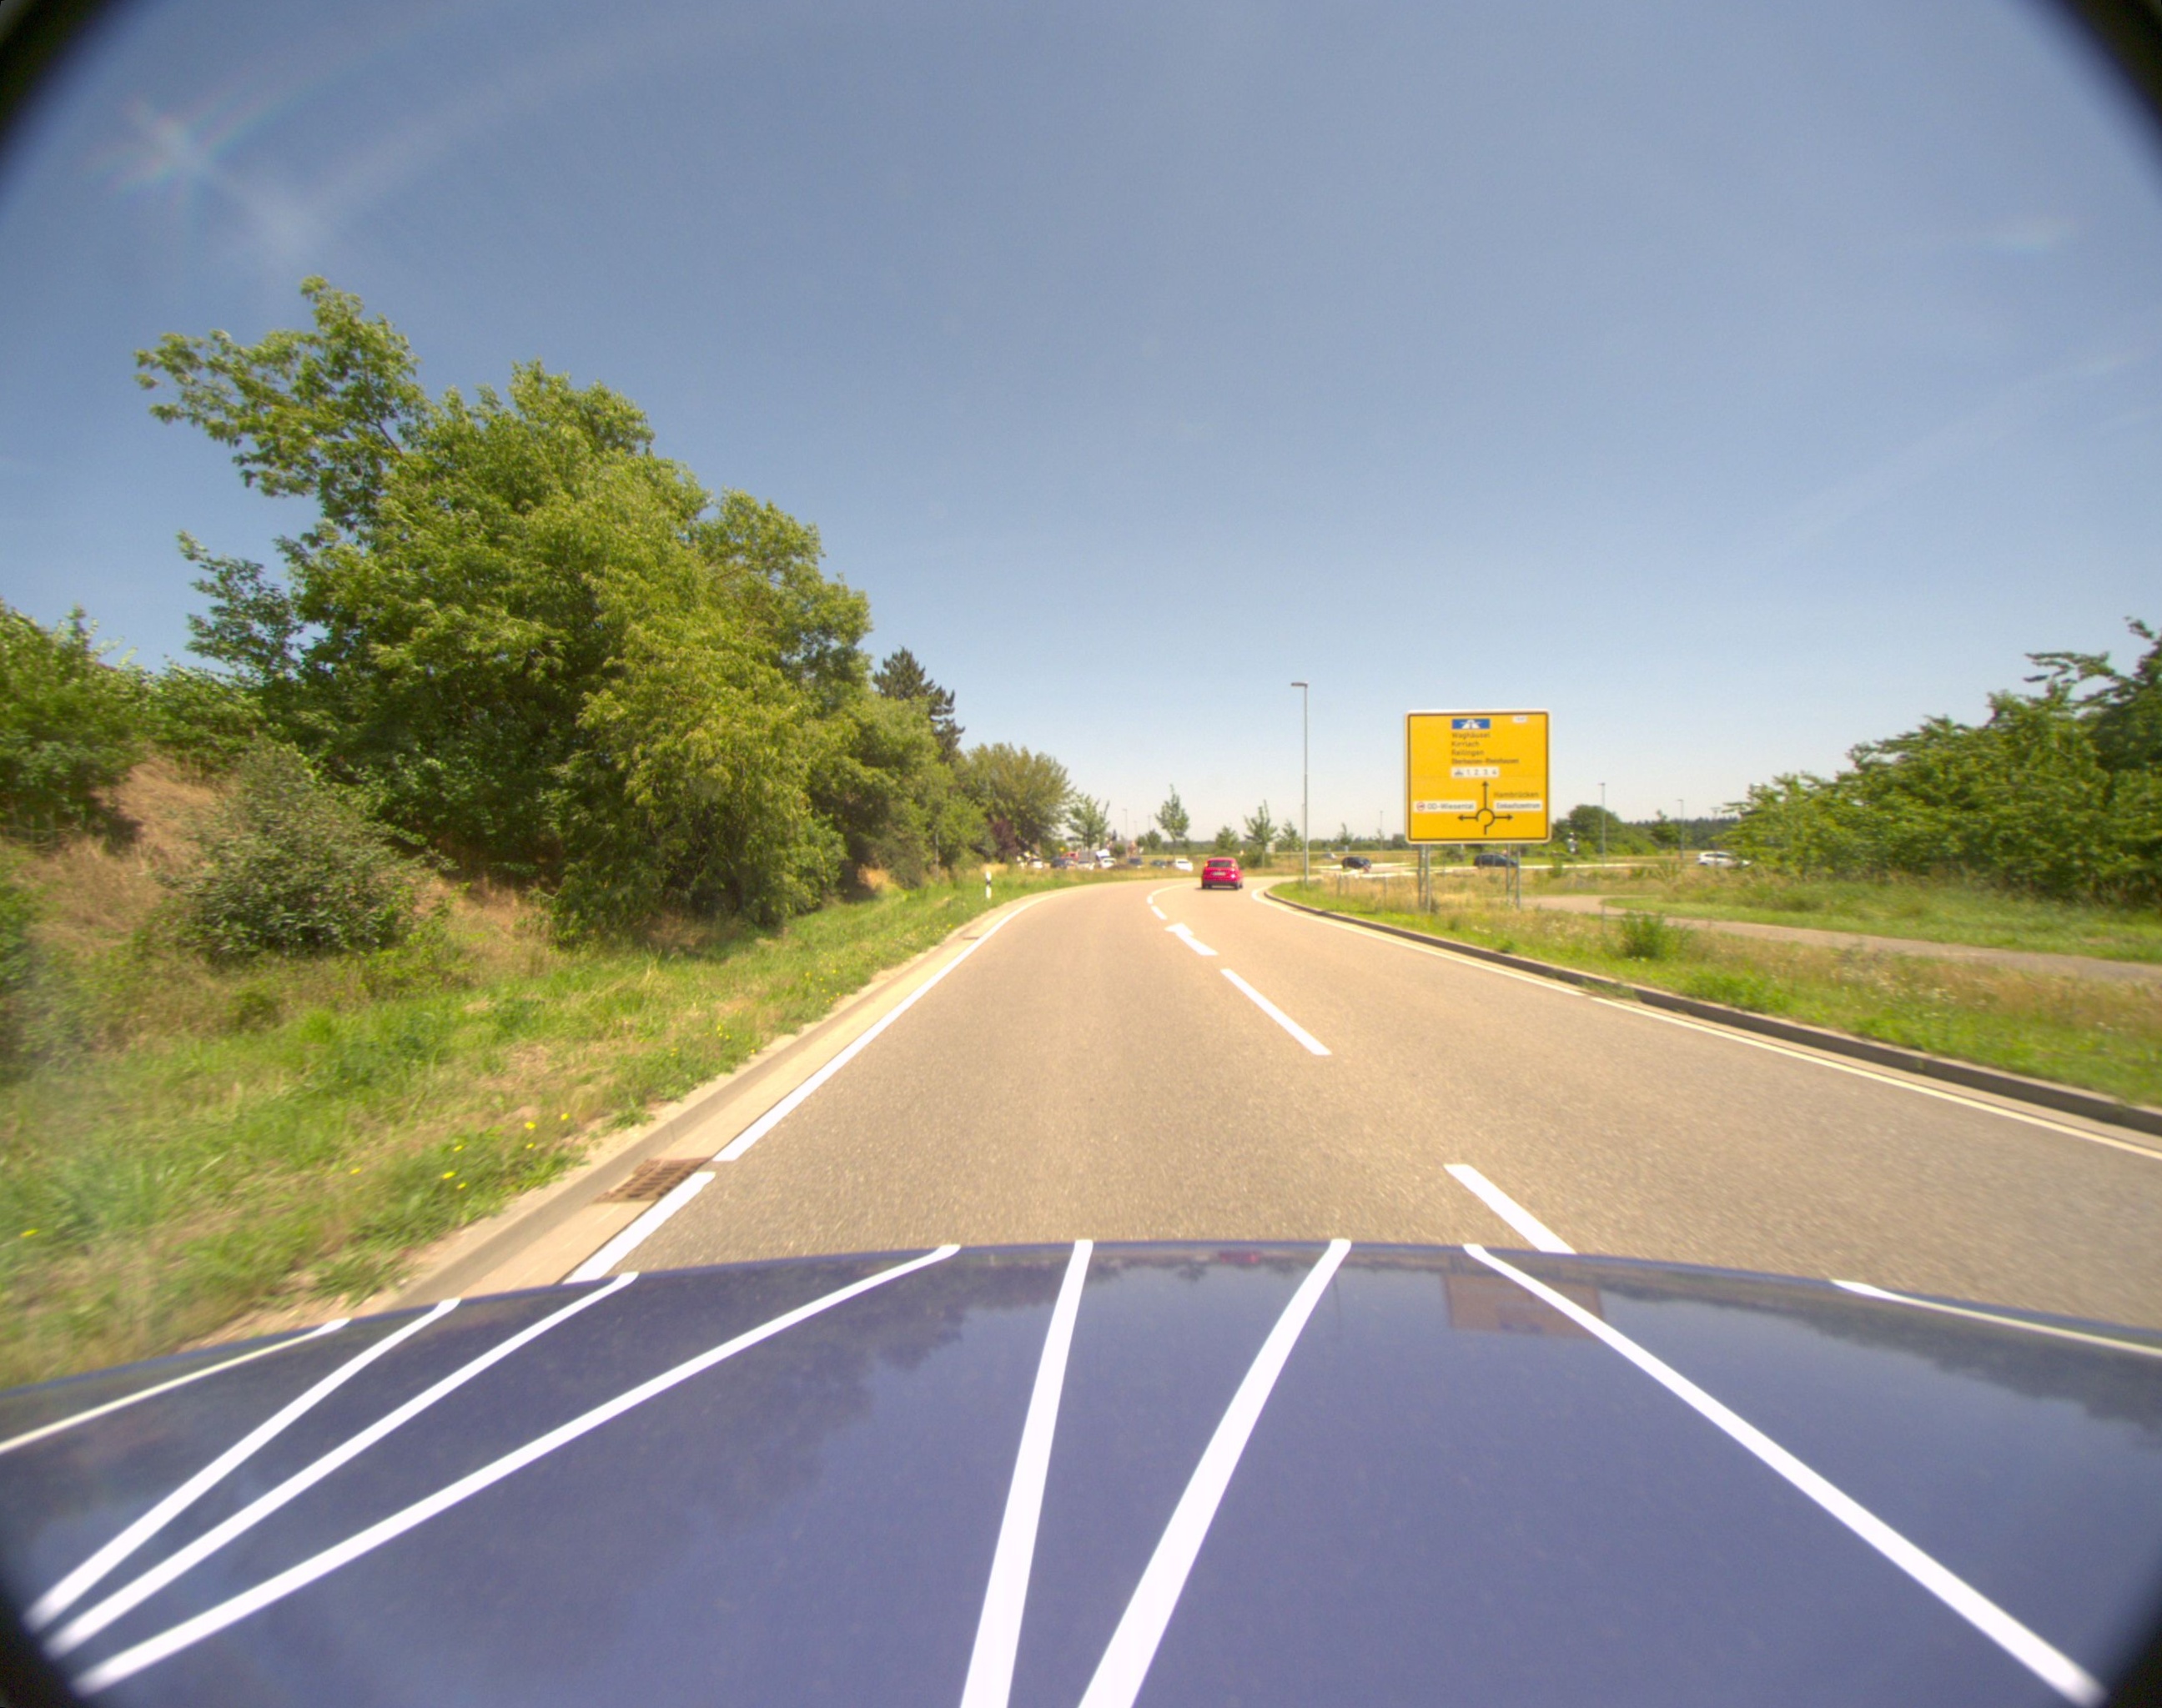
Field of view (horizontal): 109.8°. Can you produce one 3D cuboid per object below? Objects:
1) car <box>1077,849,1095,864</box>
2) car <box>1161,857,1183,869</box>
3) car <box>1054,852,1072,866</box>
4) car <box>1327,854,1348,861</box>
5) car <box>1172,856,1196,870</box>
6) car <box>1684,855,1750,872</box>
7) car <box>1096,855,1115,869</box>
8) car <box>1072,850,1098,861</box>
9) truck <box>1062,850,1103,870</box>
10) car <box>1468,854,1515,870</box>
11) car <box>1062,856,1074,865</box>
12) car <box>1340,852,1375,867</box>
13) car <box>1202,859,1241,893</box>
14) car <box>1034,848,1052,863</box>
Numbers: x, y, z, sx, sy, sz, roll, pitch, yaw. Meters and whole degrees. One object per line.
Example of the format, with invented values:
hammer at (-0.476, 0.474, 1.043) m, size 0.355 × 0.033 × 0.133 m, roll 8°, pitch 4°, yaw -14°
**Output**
car at (0.469, 0.260, 78.242) m, size 1.773 × 1.434 × 3.967 m, roll -1°, pitch -1°, yaw -1°
car at (10.664, 1.044, 89.364) m, size 1.747 × 1.303 × 3.997 m, roll -1°, pitch 0°, yaw -7°
car at (-1.861, 0.540, 78.739) m, size 1.773 × 1.434 × 3.967 m, roll -1°, pitch -1°, yaw -1°
car at (54.113, 0.698, 160.287) m, size 2.002 × 1.477 × 3.993 m, roll 0°, pitch 0°, yaw -20°
car at (10.755, 0.940, 79.618) m, size 1.746 × 1.419 × 3.999 m, roll -1°, pitch 0°, yaw -2°
car at (58.769, 0.867, 70.323) m, size 4.508 × 1.553 × 1.873 m, roll -1°, pitch 1°, yaw 35°
car at (2.538, 0.839, 79.188) m, size 1.773 × 1.434 × 3.967 m, roll -1°, pitch -1°, yaw 0°
car at (1.033, 0.300, 186.711) m, size 6.126 × 2.569 × 2.358 m, roll 0°, pitch 0°, yaw 11°
truck at (0.178, 0.692, 97.589) m, size 2.241 × 2.491 × 5.620 m, roll -1°, pitch 1°, yaw -37°
car at (43.756, 0.859, 80.931) m, size 4.139 × 1.553 × 1.725 m, roll 0°, pitch 1°, yaw 40°
car at (-2.237, 1.116, 129.512) m, size 1.854 × 1.487 × 3.998 m, roll -1°, pitch 0°, yaw -4°
car at (34.771, 0.693, 95.799) m, size 1.870 × 1.812 × 4.514 m, roll -2°, pitch 1°, yaw -15°
car at (6.541, 0.970, 35.221) m, size 1.658 × 1.425 × 3.739 m, roll 1°, pitch 0°, yaw 11°
car at (-3.947, 0.201, 79.922) m, size 1.773 × 1.434 × 3.967 m, roll -1°, pitch -1°, yaw -1°
